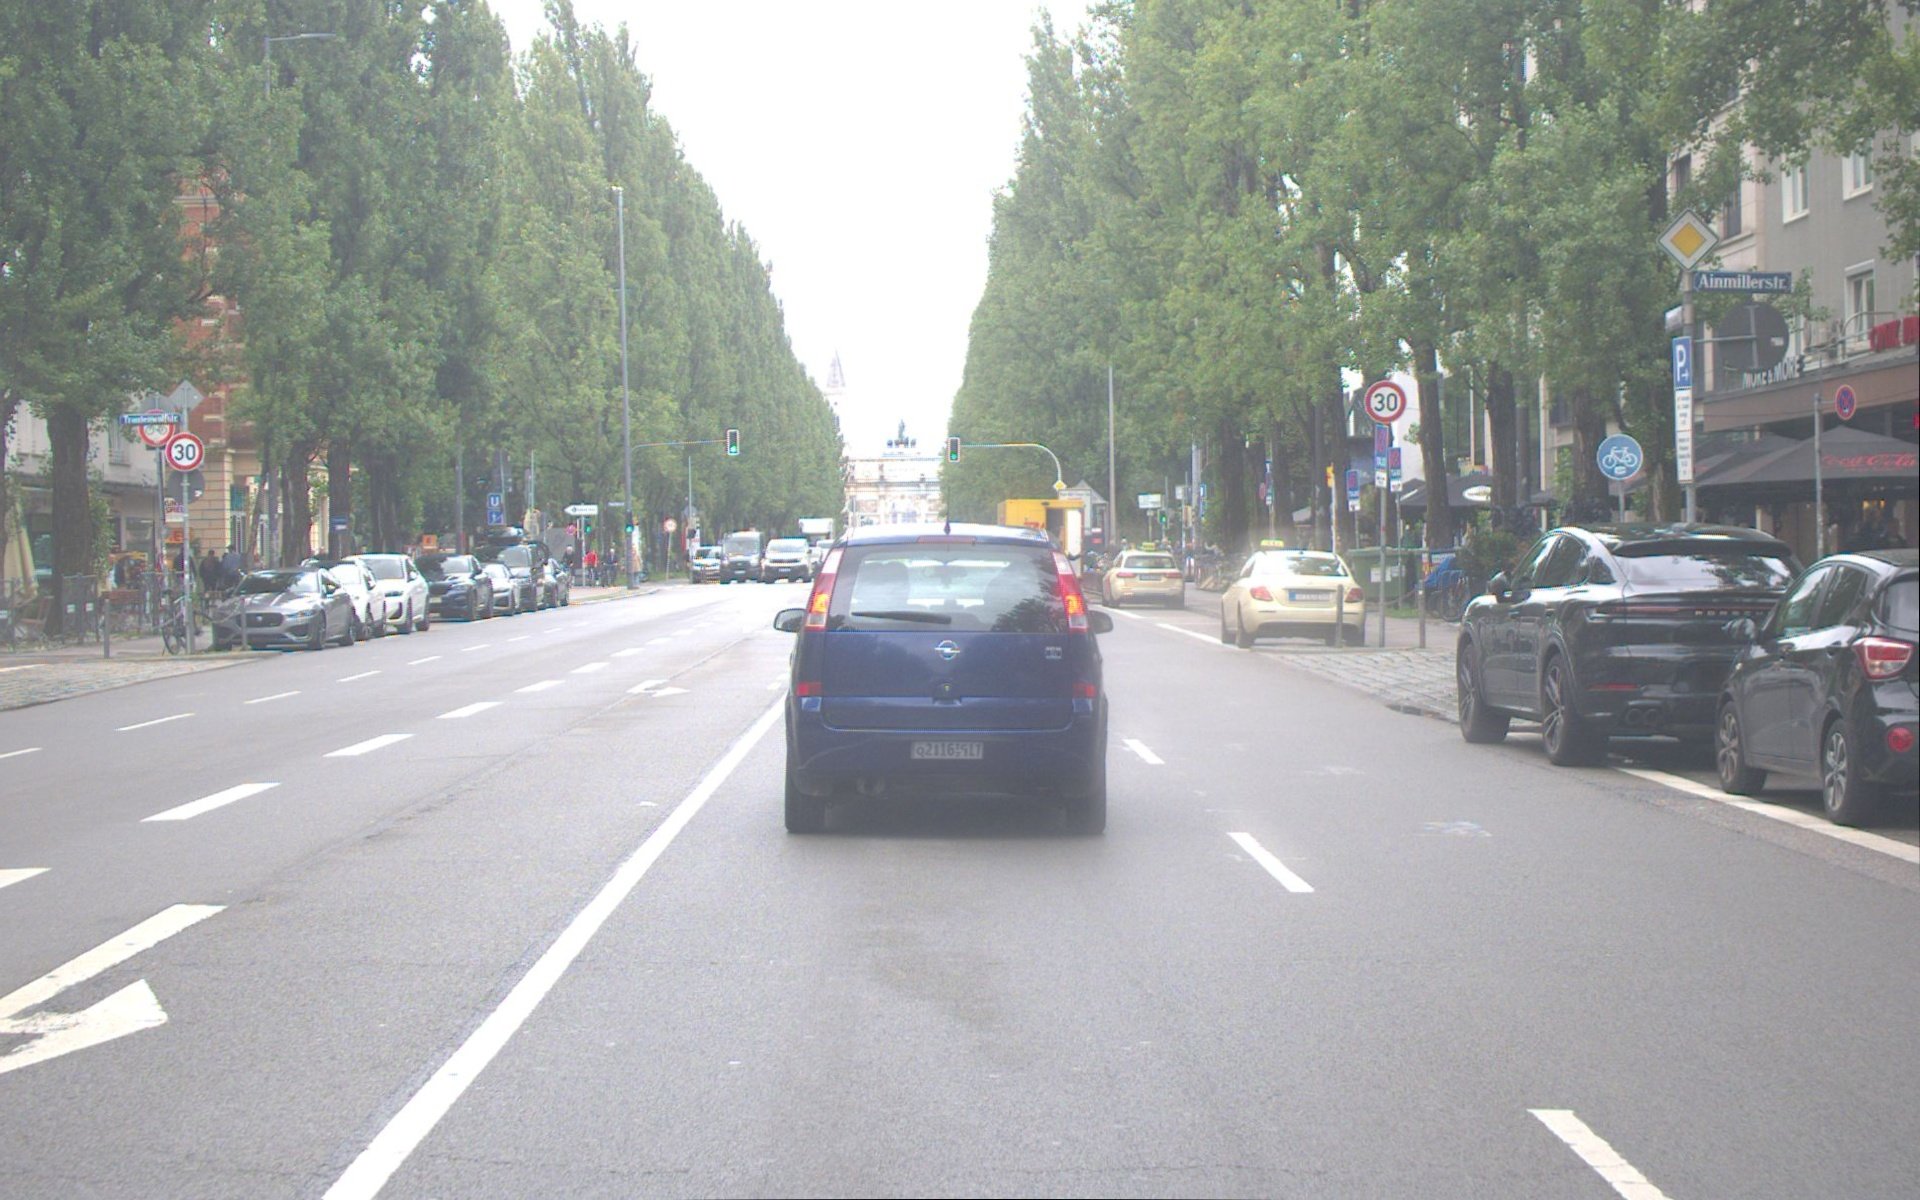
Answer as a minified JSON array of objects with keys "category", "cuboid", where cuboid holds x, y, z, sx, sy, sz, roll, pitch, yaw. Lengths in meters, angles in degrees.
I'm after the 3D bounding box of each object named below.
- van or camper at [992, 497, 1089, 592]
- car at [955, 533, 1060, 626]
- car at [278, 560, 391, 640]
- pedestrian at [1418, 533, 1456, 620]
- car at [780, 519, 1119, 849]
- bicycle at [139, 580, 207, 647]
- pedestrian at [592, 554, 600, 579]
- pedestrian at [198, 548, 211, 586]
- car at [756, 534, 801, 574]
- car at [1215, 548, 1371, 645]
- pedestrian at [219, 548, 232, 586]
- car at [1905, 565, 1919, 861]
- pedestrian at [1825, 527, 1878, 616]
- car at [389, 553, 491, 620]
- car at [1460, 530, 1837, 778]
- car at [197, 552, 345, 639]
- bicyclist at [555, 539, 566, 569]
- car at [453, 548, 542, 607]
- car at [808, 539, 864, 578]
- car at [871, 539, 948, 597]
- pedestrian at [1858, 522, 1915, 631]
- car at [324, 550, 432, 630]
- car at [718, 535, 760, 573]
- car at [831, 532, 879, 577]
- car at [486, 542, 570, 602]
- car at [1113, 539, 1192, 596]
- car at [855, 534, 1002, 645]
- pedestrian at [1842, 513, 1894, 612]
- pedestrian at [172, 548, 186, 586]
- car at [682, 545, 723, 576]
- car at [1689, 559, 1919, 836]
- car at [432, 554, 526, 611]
[{"category":"van or camper","cuboid":[2.226,-1.568,96.808,2.476,2.572,5.845,-1,1,-1]},{"category":"car","cuboid":[0.832,-0.391,62.367,1.706,1.568,4.001,-2,1,-1]},{"category":"car","cuboid":[-11.908,-0.021,65.620,1.546,1.448,3.458,-1,1,-1]},{"category":"pedestrian","cuboid":[8.993,-0.442,64.826,0.654,1.621,0.704,1,0,4]},{"category":"car","cuboid":[-0.116,0.379,19.096,1.681,1.635,4.001,0,1,-2]},{"category":"bicycle","cuboid":[-12.342,0.199,53.973,0.665,1.002,2.462,-1,1,-4]},{"category":"pedestrian","cuboid":[-16.071,-1.488,151.823,0.258,1.086,0.290,-1,1,5]},{"category":"pedestrian","cuboid":[-21.831,-0.958,99.329,0.289,1.086,0.258,-1,1,5]},{"category":"car","cuboid":[-7.862,-1.997,149.292,1.835,1.671,3.779,-1,1,-1]},{"category":"car","cuboid":[4.955,-0.082,51.583,1.897,1.358,3.900,-1,1,-1]},{"category":"pedestrian","cuboid":[-21.463,-0.964,100.453,0.289,1.086,0.258,-1,1,5]},{"category":"car","cuboid":[5.463,0.582,14.526,1.670,1.401,4.128,1,1,-2]},{"category":"pedestrian","cuboid":[14.818,-0.480,57.155,0.684,1.464,0.678,-1,1,-1]},{"category":"car","cuboid":[-12.441,-0.347,82.415,1.961,1.525,4.001,-1,1,-2]},{"category":"car","cuboid":[4.800,0.318,24.532,1.797,1.588,4.104,1,1,-1]},{"category":"car","cuboid":[-11.891,-0.096,59.525,1.830,1.415,3.811,-1,1,-1]},{"category":"bicyclist","cuboid":[-22.784,-2.632,195.956,0.619,1.707,0.564,-1,1,-7]},{"category":"car","cuboid":[-12.478,-0.625,92.904,1.961,1.543,3.779,-1,1,-1]},{"category":"car","cuboid":[-4.514,-1.524,125.306,1.961,1.394,3.779,-1,1,-1]},{"category":"car","cuboid":[-1.398,-0.881,92.927,1.993,1.492,4.000,-1,1,-2]},{"category":"pedestrian","cuboid":[13.103,-0.339,48.627,0.640,1.521,0.484,-1,1,-1]},{"category":"car","cuboid":[-11.887,-0.221,70.417,1.654,1.556,3.458,-1,1,-1]},{"category":"car","cuboid":[-10.402,-2.186,162.044,1.835,1.733,3.779,-1,1,-1]},{"category":"car","cuboid":[-4.199,-1.829,137.761,1.835,1.755,3.779,-1,1,-1]},{"category":"car","cuboid":[-12.467,-0.835,99.361,1.993,1.656,4.000,-1,1,-2]},{"category":"car","cuboid":[4.800,-0.827,86.108,1.669,1.348,4.104,-1,1,-1]},{"category":"car","cuboid":[-0.488,-0.181,49.135,1.993,1.492,4.000,-1,1,-2]},{"category":"pedestrian","cuboid":[14.048,-0.579,53.195,0.640,1.521,0.484,-1,1,-1]},{"category":"pedestrian","cuboid":[-22.558,-0.963,99.292,0.289,1.086,0.258,-1,1,5]},{"category":"car","cuboid":[-13.422,-2.084,179.420,1.961,1.543,3.779,-1,1,-1]},{"category":"car","cuboid":[5.429,0.492,19.581,1.681,1.410,3.583,1,1,-2]},{"category":"car","cuboid":[-12.350,-0.459,88.520,1.961,1.394,3.779,-1,1,-1]}]
